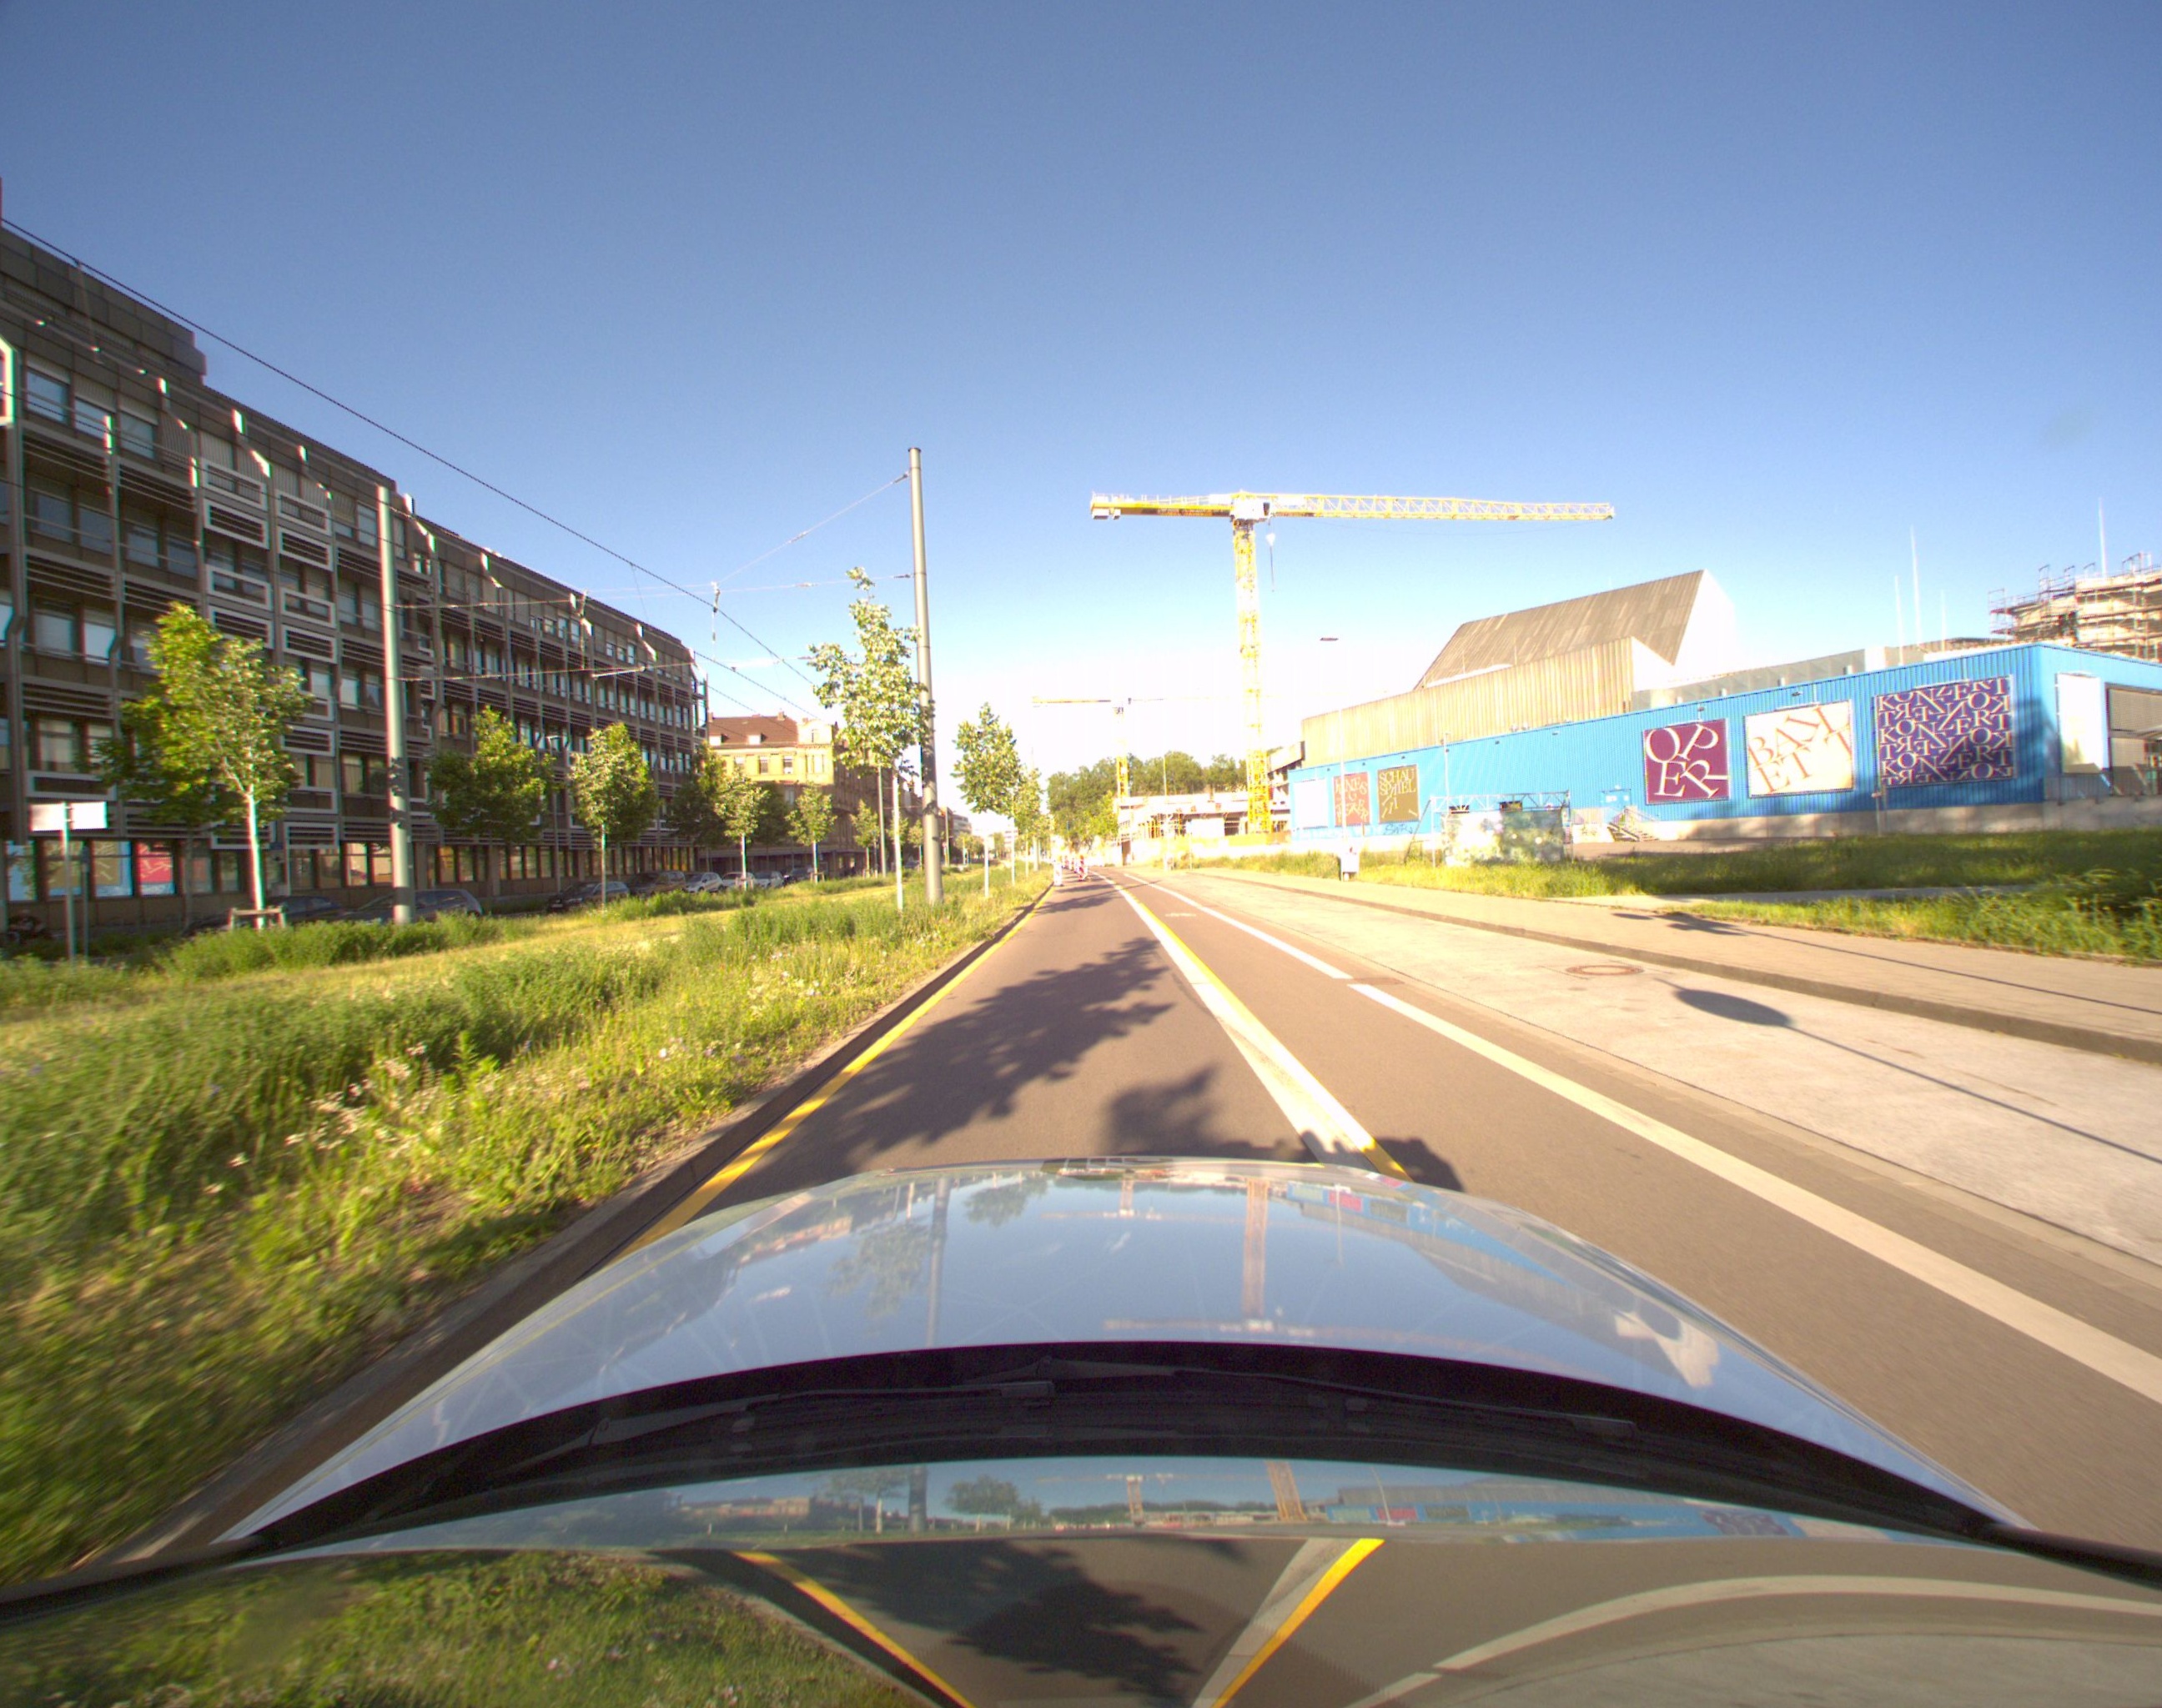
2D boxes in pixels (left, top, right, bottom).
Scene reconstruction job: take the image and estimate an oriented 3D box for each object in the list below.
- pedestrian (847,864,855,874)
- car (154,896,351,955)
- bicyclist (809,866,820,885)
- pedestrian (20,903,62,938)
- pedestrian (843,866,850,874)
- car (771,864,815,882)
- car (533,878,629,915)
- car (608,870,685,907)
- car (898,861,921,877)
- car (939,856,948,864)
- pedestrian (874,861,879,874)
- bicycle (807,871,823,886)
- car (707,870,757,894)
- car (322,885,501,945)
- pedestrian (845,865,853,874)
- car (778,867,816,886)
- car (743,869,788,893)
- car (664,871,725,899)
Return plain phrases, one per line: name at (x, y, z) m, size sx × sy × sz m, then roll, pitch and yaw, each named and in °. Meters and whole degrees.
pedestrian at (-29.549, 1.946, 104.643) m, size 0.689 × 1.246 × 0.928 m, roll -2°, pitch 0°, yaw -5°
car at (-24.714, 2.076, 24.531) m, size 1.709 × 1.387 × 4.042 m, roll 1°, pitch 1°, yaw 3°
bicyclist at (-21.221, 1.702, 64.949) m, size 0.563 × 1.457 × 0.706 m, roll -3°, pitch 0°, yaw 1°
pedestrian at (-31.258, 2.001, 24.477) m, size 0.614 × 0.986 × 0.499 m, roll -3°, pitch 0°, yaw 4°
pedestrian at (-30.509, 2.096, 105.887) m, size 0.689 × 1.059 × 0.734 m, roll -2°, pitch 0°, yaw -5°
car at (-33.677, 2.228, 95.213) m, size 4.510 × 1.903 × 1.891 m, roll -3°, pitch 0°, yaw -11°
car at (-23.884, 1.990, 39.093) m, size 1.723 × 1.469 × 4.505 m, roll -1°, pitch 0°, yaw 1°
car at (-23.870, 1.847, 44.931) m, size 1.744 × 1.771 × 4.333 m, roll -1°, pitch 0°, yaw 2°
car at (-19.730, 1.675, 94.030) m, size 1.722 × 1.746 × 4.121 m, roll -2°, pitch 0°, yaw 0°
car at (-30.135, 1.367, 178.402) m, size 1.564 × 1.562 × 4.704 m, roll -3°, pitch 0°, yaw -6°
pedestrian at (-28.203, 1.895, 112.328) m, size 0.507 × 1.765 × 0.405 m, roll 0°, pitch -1°, yaw -6°
bicycle at (-21.208, 1.964, 64.915) m, size 0.563 × 1.096 × 1.771 m, roll -3°, pitch 0°, yaw 1°
car at (-23.544, 1.844, 55.095) m, size 1.618 × 1.441 × 3.821 m, roll -1°, pitch 0°, yaw 2°
car at (-19.657, 1.744, 24.175) m, size 1.708 × 1.387 × 4.044 m, roll -3°, pitch 0°, yaw 4°
pedestrian at (-30.542, 2.036, 107.252) m, size 0.790 × 1.208 × 0.928 m, roll -2°, pitch 0°, yaw -5°
car at (-24.012, 1.890, 68.875) m, size 1.724 × 1.461 × 3.901 m, roll -1°, pitch 0°, yaw 1°
car at (-23.578, 1.994, 61.060) m, size 1.643 × 1.554 × 3.969 m, roll -2°, pitch 0°, yaw 2°
car at (-23.653, 1.874, 50.034) m, size 1.731 × 1.536 × 3.886 m, roll -2°, pitch 0°, yaw 2°
